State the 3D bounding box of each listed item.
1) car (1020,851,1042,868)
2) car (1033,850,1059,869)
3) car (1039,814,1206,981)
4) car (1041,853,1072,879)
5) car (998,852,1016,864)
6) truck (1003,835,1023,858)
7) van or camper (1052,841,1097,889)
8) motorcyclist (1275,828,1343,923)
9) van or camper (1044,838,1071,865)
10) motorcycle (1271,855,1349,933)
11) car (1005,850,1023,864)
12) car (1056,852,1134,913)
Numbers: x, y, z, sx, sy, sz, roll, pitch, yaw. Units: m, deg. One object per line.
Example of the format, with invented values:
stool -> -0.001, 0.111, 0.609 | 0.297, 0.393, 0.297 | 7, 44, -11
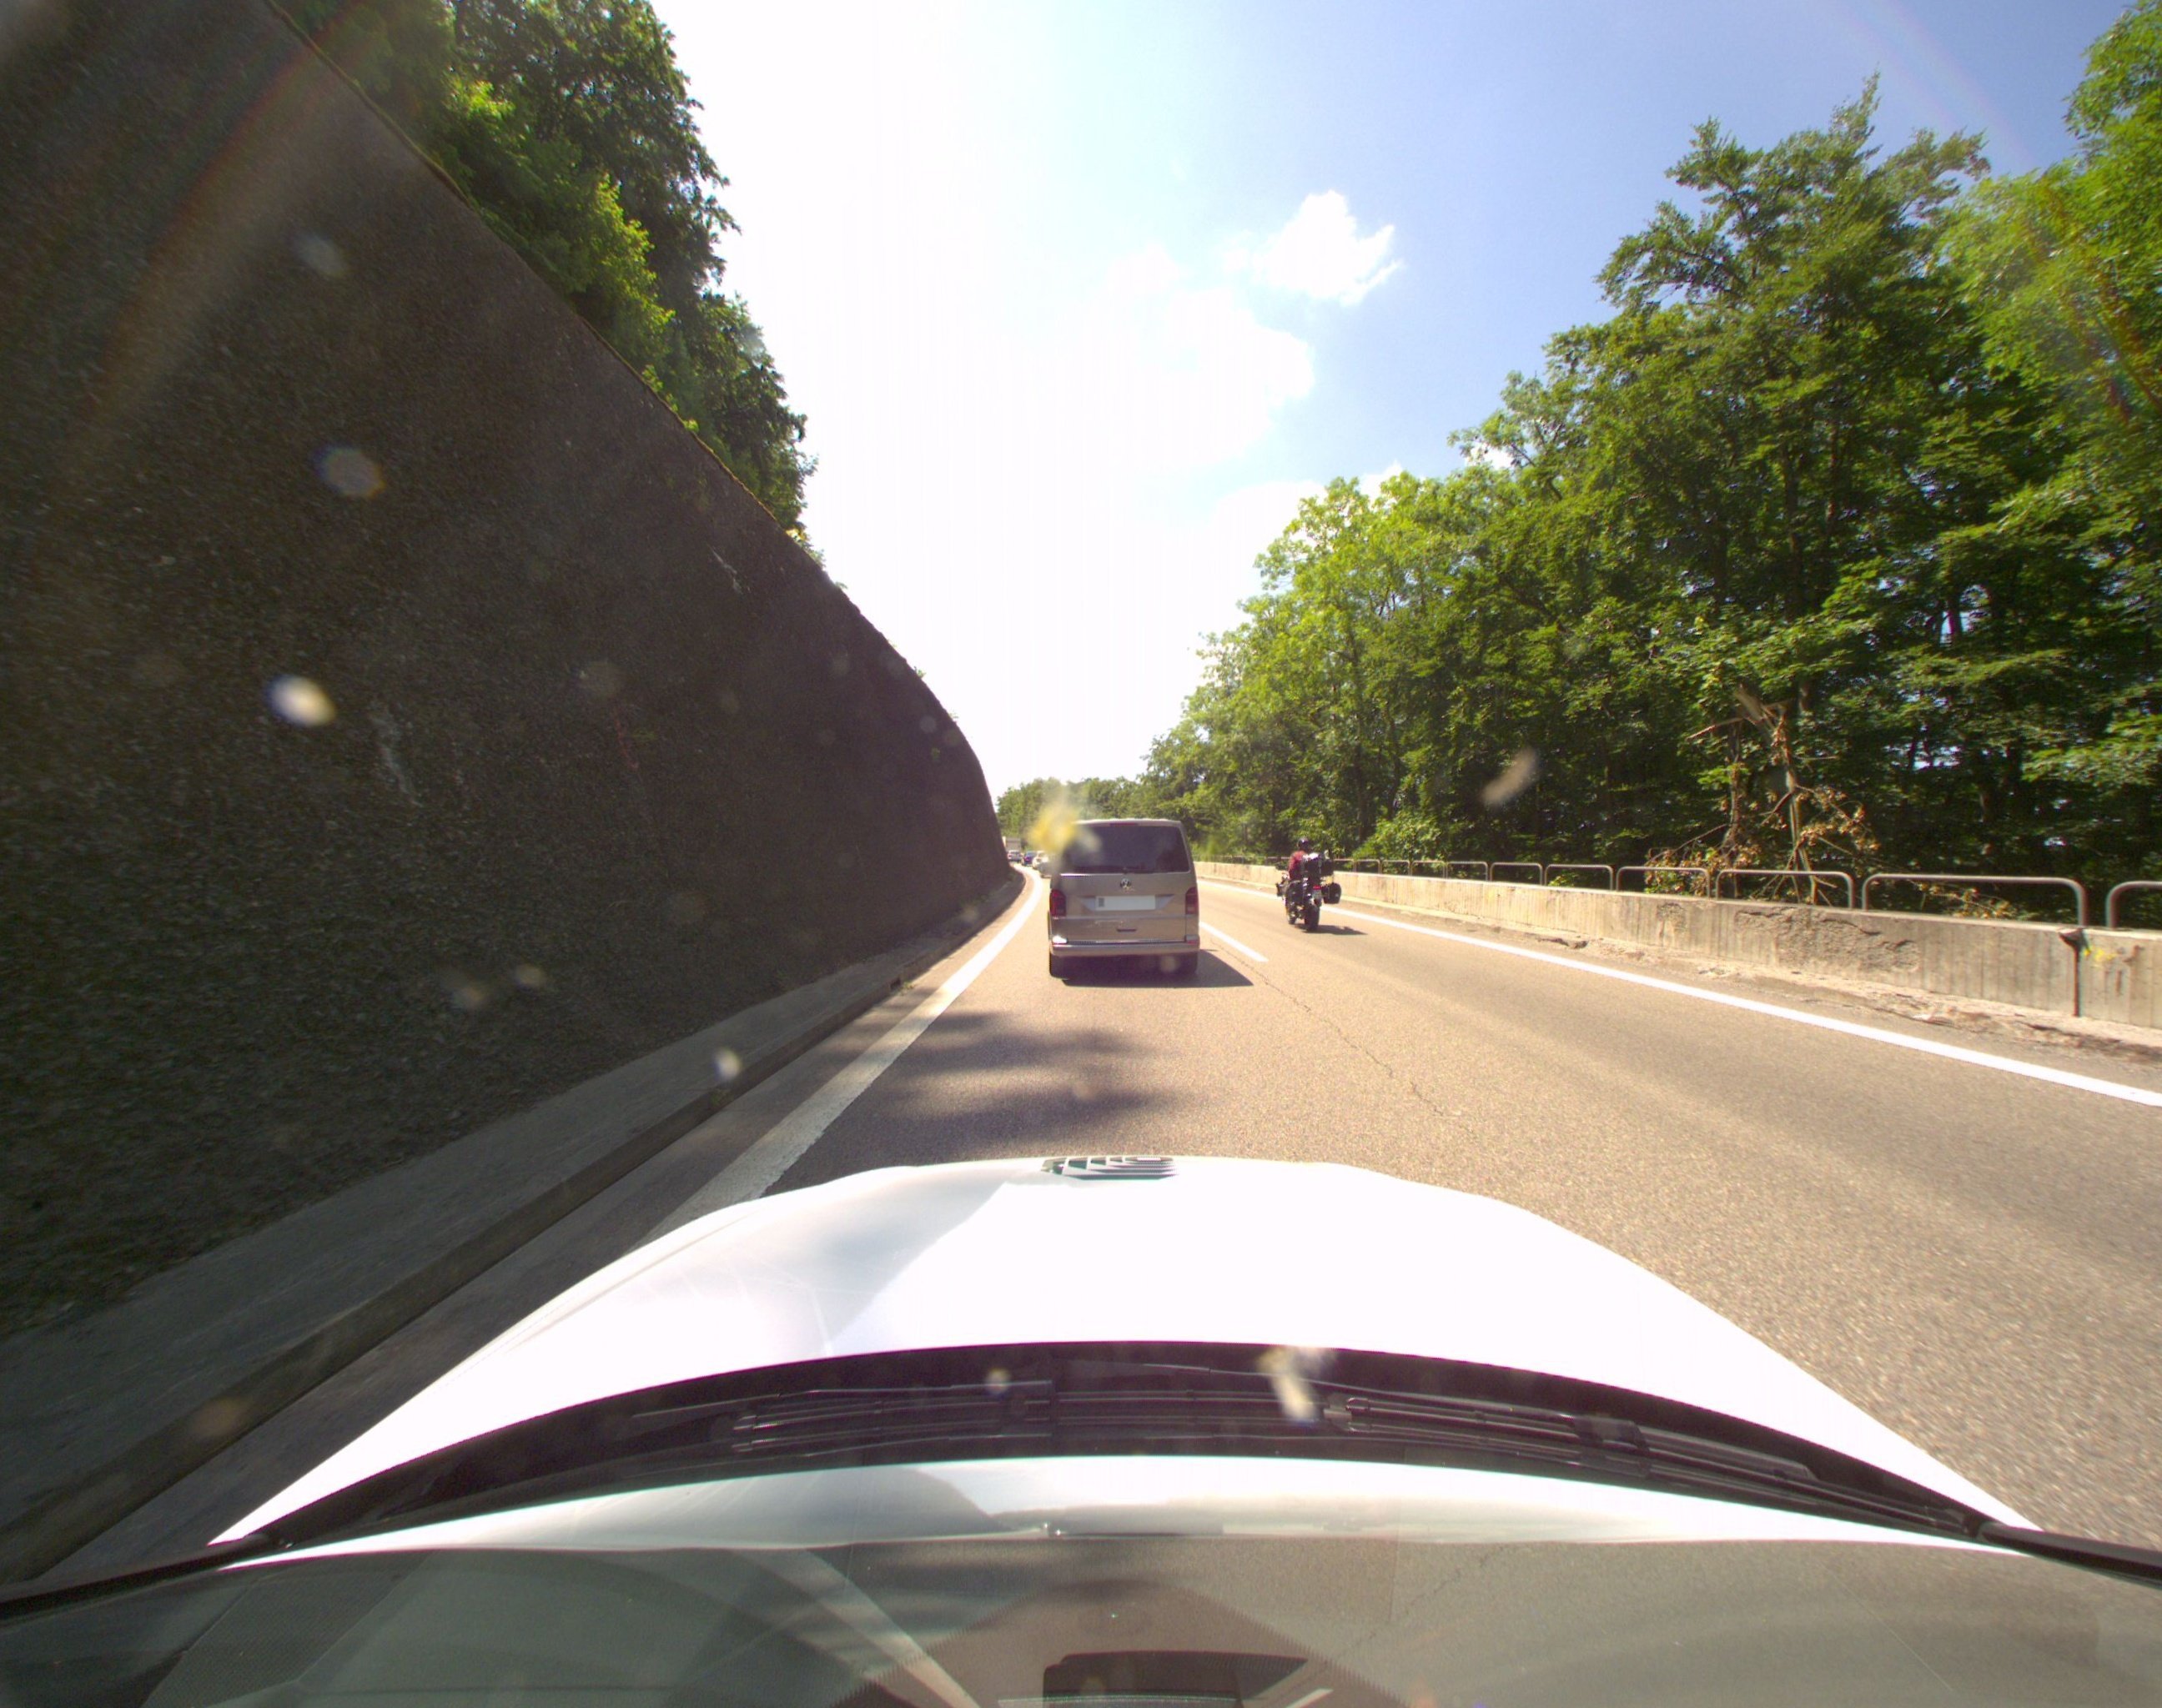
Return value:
car -> -4.937, 0.530, 79.944 | 1.857, 1.619, 3.988 | 0, 0, -9
car -> -2.920, 0.412, 66.752 | 1.861, 1.486, 3.991 | 0, 0, -7
car -> 0.524, 0.495, 11.815 | 1.934, 1.931, 4.695 | 0, 0, 1
car -> -1.473, 0.661, 48.102 | 1.767, 1.472, 3.996 | 0, 0, -3
car -> -9.904, 0.572, 108.245 | 1.754, 1.571, 3.751 | 0, 0, -16
truck -> -11.219, -1.241, 133.787 | 2.924, 3.687, 7.702 | 0, 0, -8
van or camper -> -0.325, 0.456, 35.688 | 1.848, 1.942, 4.163 | -1, 0, -1
motorcyclist -> 4.507, 0.415, 16.218 | 1.055, 1.800, 1.340 | 0, 0, 5
van or camper -> -2.757, -0.301, 94.740 | 2.600, 2.855, 6.324 | 4, 0, -5
motorcycle -> 4.480, 0.730, 16.168 | 0.968, 1.419, 2.684 | 0, 0, 4
car -> -7.833, 0.370, 94.886 | 1.991, 1.618, 3.992 | 0, 0, -6
car -> 0.285, 0.708, 22.322 | 1.900, 1.489, 4.375 | 1, 0, -2
